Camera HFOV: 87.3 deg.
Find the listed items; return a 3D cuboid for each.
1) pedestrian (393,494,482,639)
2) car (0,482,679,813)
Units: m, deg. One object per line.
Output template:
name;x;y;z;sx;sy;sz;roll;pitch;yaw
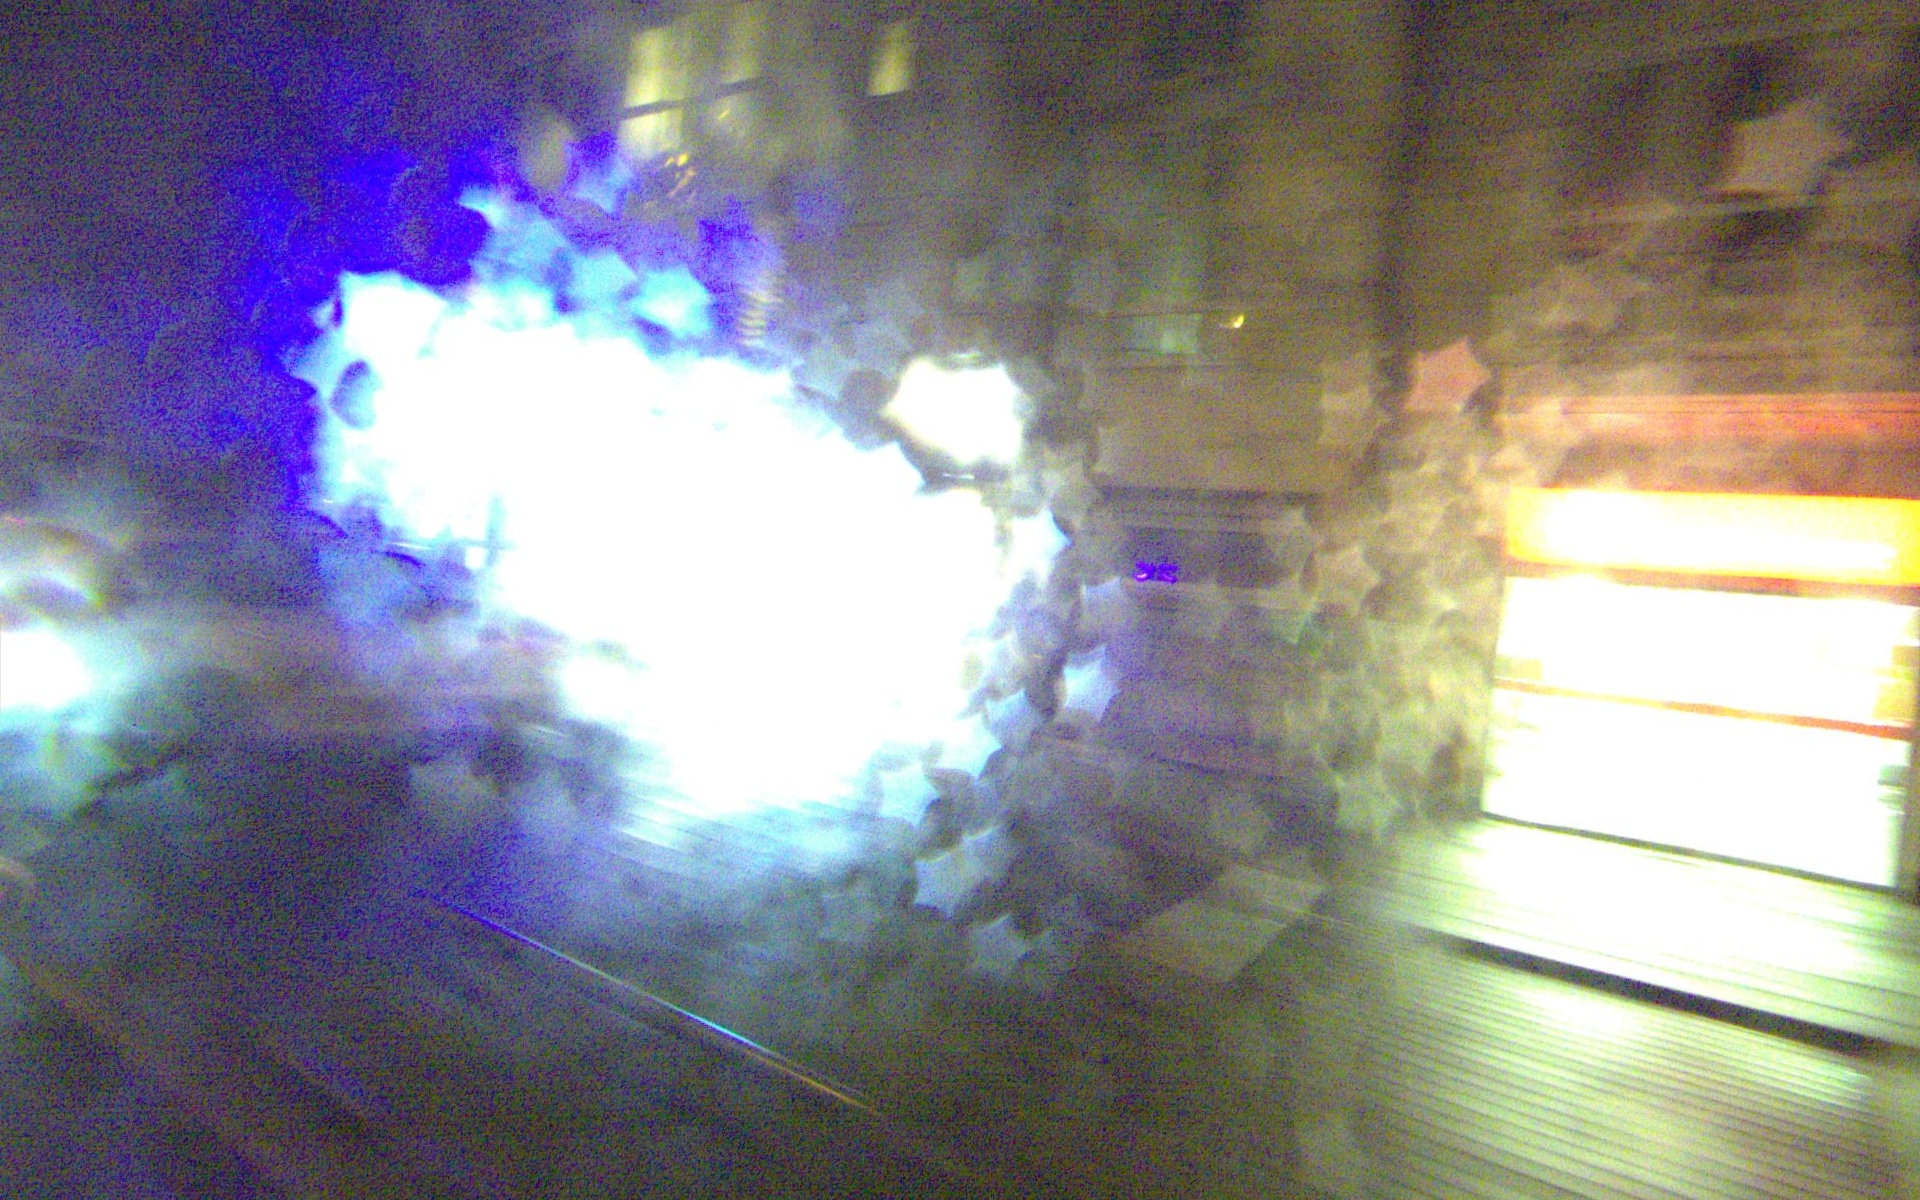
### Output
pedestrian;-6.906;-0.432;13.310;0.614;1.812;0.702;8;2;35
car;-4.285;0.228;6.819;1.750;1.550;4.515;7;1;31
